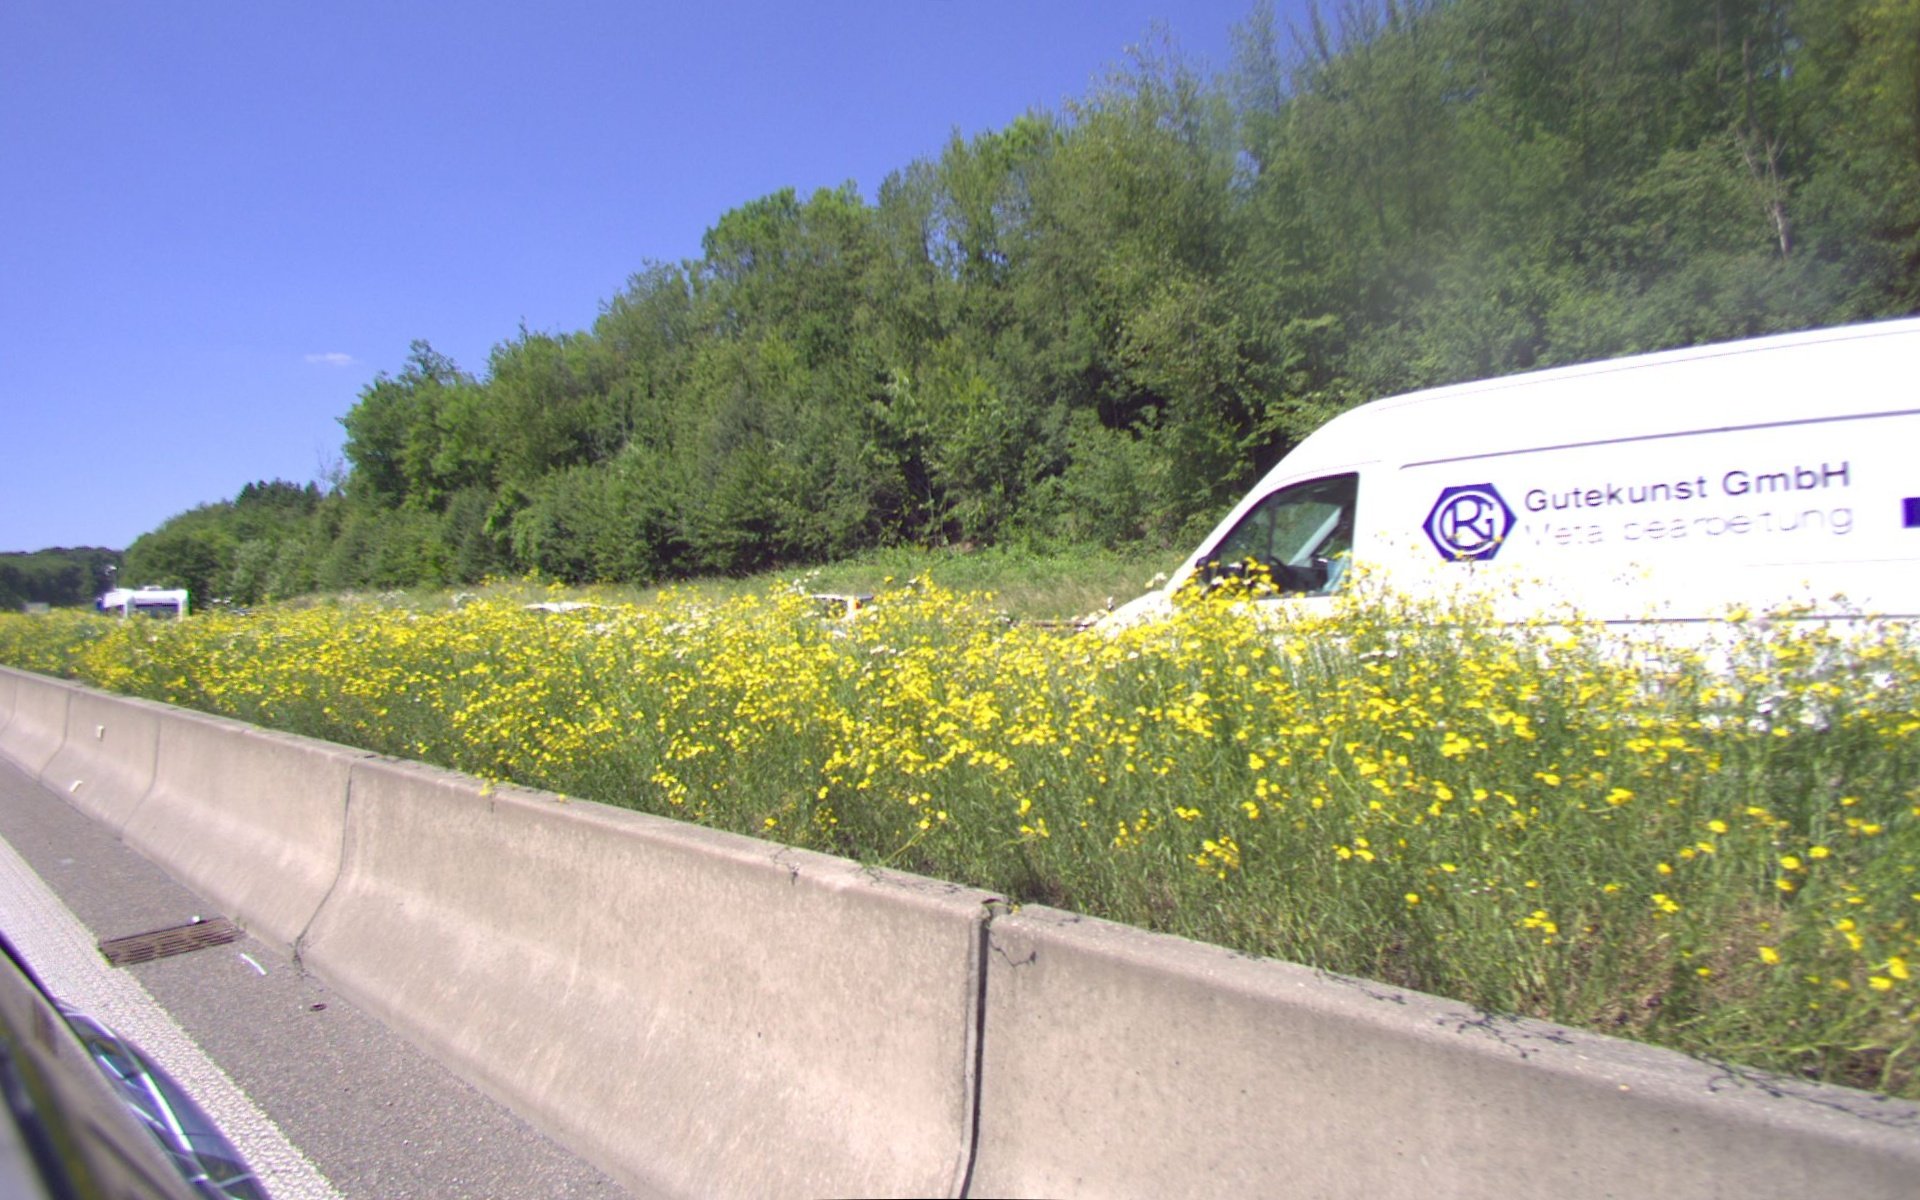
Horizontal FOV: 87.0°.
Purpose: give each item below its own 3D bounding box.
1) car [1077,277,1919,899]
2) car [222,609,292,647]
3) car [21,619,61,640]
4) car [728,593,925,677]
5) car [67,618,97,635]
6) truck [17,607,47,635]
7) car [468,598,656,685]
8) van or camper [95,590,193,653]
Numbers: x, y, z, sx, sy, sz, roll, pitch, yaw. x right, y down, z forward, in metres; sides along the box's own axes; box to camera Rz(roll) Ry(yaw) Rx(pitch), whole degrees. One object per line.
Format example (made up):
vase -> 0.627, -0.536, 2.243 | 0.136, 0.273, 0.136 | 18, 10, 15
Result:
car -> 3.679, -0.038, 5.723 | 5.906, 2.560, 1.973 | -1, 0, 41
car -> -33.719, 1.333, 48.509 | 4.420, 1.708, 1.737 | -1, 0, 41
car -> -71.237, 2.251, 78.461 | 4.355, 1.533, 1.820 | -1, 0, 42
car -> -2.878, 0.693, 21.343 | 3.998, 1.586, 1.973 | -1, 0, 41
car -> -97.922, 2.956, 112.854 | 4.766, 1.705, 1.972 | -2, 0, 42
truck -> -141.933, 3.238, 154.889 | 2.794, 3.968, 13.765 | -1, 0, -41
car -> -8.229, 0.799, 20.803 | 3.998, 1.586, 1.973 | -1, 0, 41
van or camper -> -37.151, 0.958, 45.979 | 7.397, 2.656, 2.284 | -1, 0, 42
